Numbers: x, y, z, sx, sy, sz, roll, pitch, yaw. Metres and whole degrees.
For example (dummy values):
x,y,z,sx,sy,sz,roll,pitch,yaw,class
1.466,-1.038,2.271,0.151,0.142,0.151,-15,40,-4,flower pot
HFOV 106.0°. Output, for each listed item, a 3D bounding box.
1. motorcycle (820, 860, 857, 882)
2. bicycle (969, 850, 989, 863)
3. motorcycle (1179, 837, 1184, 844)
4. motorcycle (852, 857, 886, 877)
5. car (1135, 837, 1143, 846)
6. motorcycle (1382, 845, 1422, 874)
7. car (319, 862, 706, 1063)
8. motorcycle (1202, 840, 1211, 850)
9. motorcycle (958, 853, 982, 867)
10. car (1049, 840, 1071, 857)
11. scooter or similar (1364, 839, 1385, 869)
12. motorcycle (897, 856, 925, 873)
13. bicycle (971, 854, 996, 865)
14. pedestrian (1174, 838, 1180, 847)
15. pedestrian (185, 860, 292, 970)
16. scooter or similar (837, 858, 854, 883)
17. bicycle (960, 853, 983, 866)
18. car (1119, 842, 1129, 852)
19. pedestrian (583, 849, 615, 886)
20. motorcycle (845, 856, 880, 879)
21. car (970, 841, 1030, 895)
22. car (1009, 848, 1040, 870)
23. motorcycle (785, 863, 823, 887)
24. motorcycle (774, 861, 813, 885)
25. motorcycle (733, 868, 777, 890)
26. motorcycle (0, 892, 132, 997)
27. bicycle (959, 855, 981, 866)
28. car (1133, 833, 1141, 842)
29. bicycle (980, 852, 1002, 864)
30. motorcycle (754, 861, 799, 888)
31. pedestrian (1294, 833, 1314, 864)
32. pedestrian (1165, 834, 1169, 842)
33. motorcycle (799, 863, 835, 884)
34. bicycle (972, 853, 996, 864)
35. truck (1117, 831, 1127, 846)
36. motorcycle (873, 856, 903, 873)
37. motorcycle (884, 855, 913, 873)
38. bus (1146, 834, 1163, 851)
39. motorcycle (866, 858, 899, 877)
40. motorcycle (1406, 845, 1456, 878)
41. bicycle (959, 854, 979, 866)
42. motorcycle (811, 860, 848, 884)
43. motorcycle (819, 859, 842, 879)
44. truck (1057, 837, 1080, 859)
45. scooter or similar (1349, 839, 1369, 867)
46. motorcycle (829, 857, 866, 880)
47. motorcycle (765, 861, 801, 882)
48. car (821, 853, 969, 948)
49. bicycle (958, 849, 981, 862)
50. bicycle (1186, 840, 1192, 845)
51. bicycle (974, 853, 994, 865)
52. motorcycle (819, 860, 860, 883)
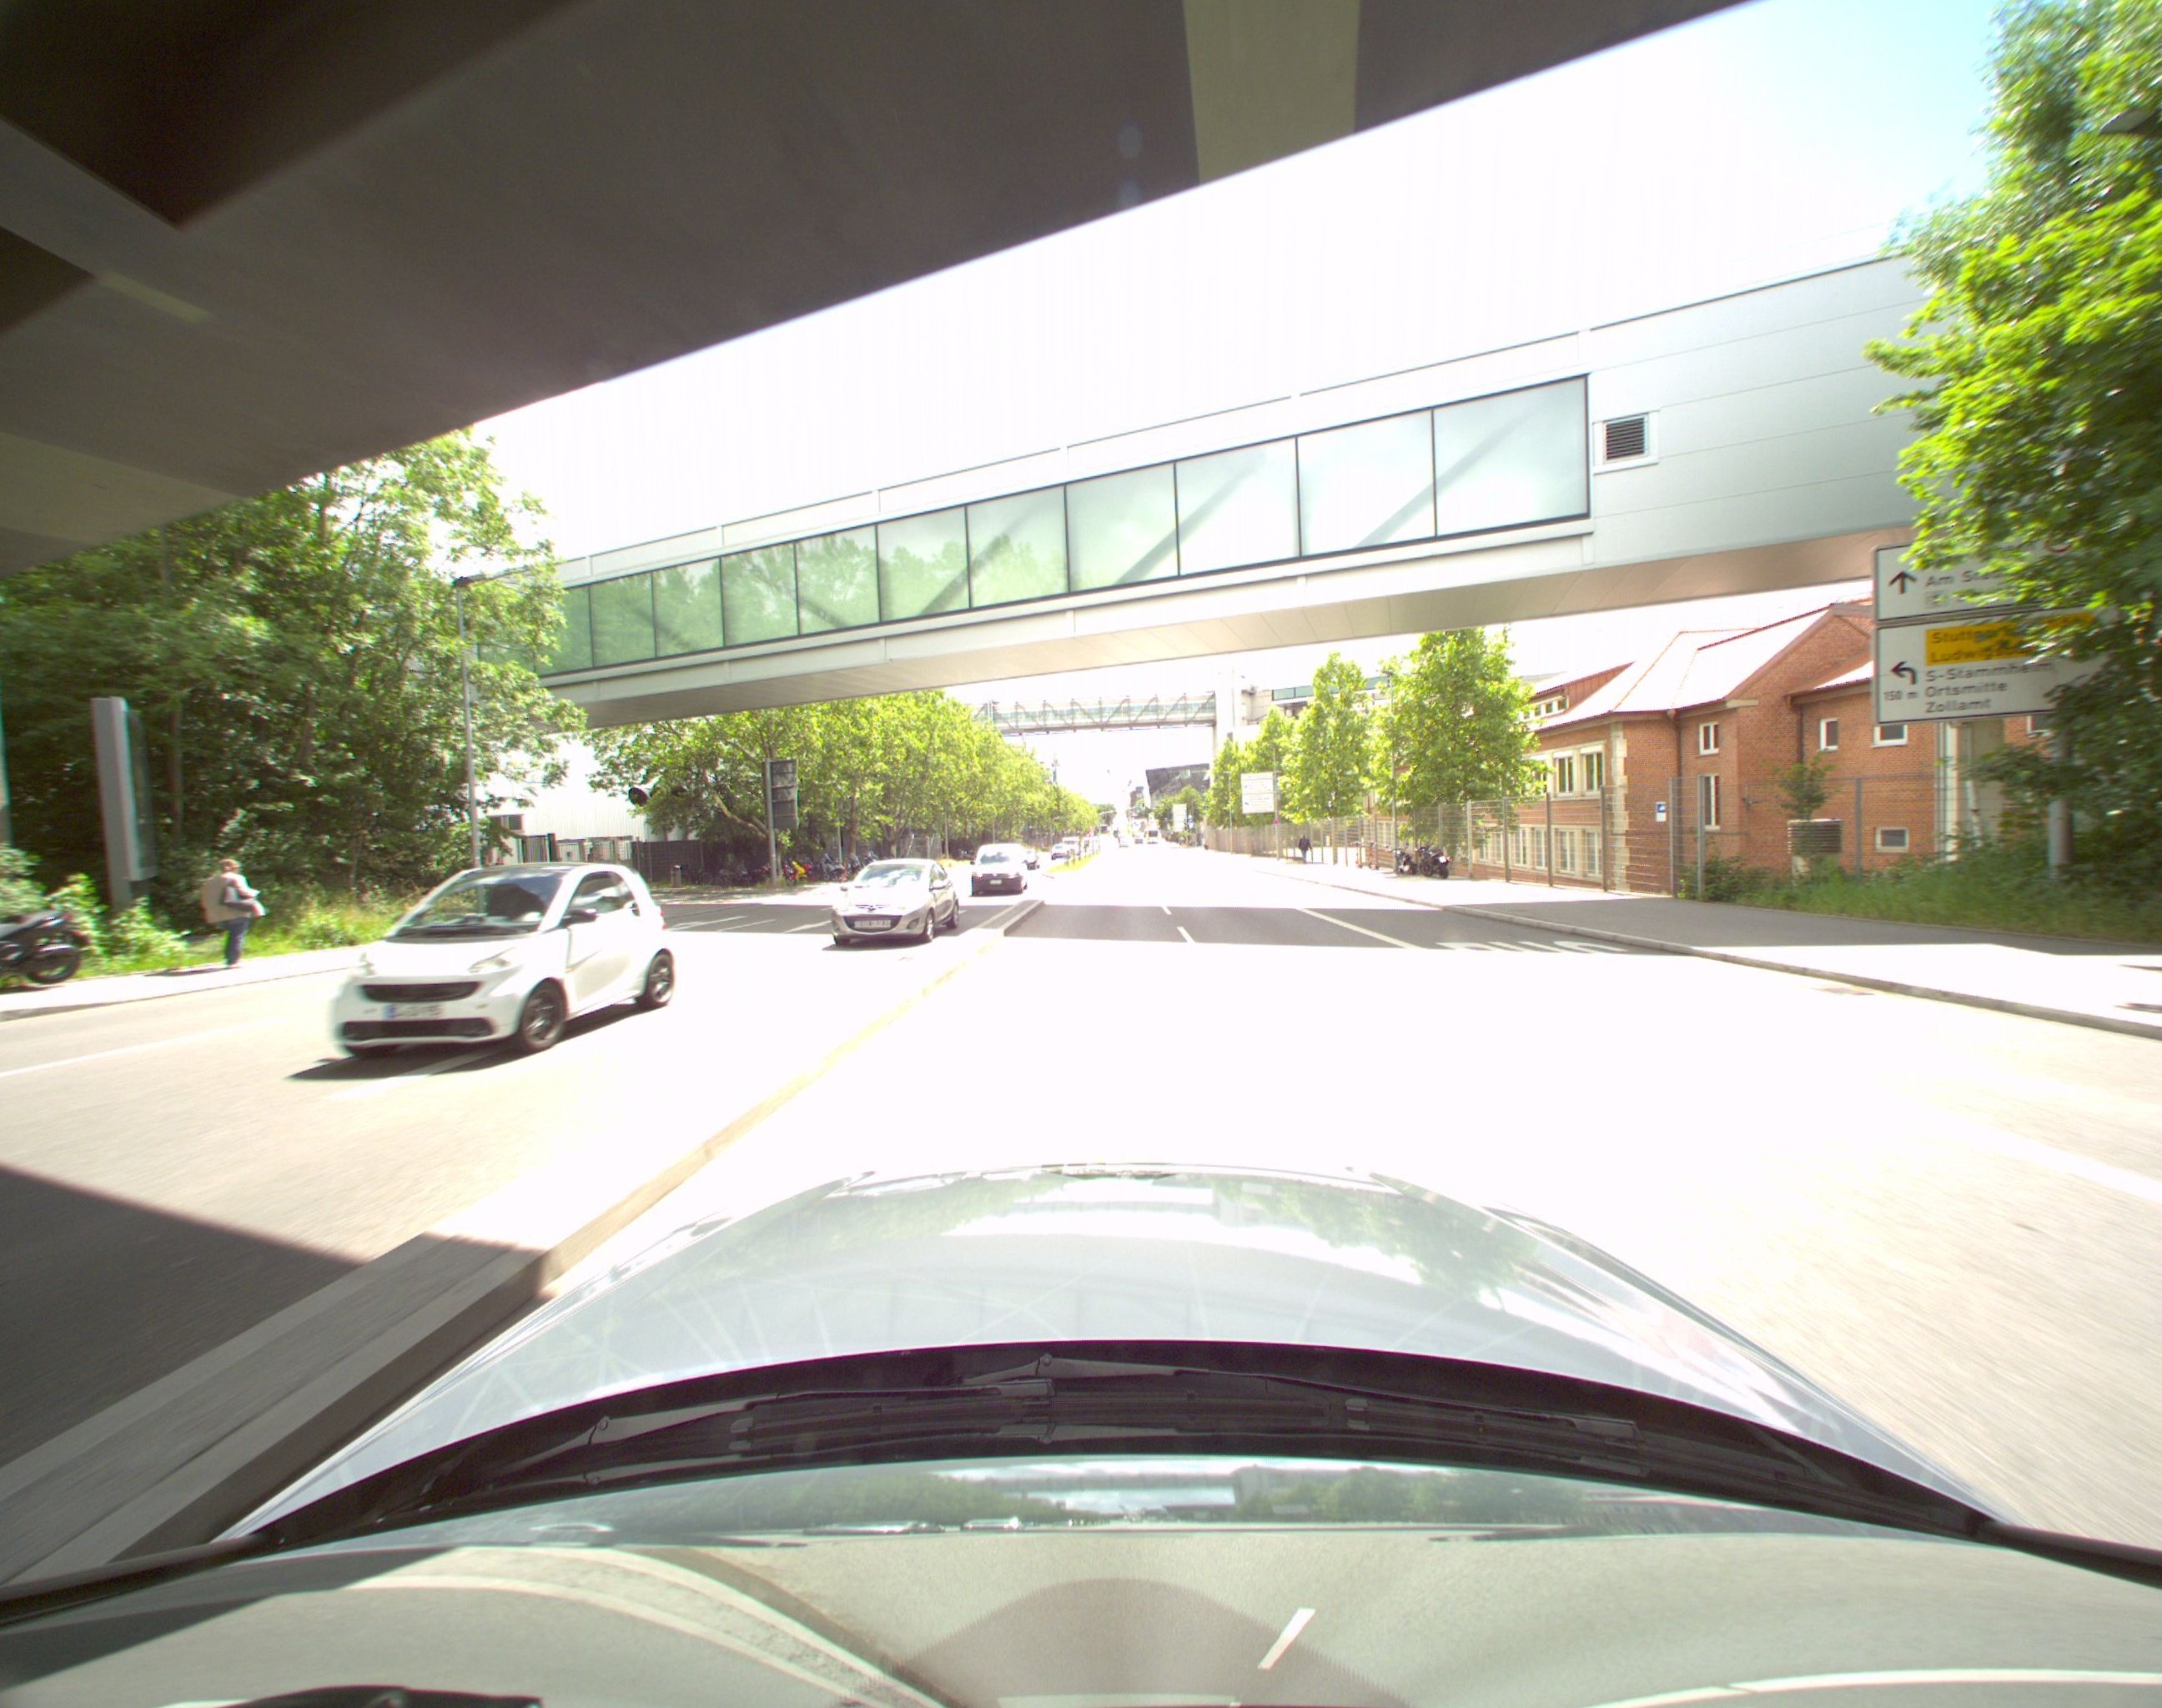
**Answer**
x,y,z,sx,sy,sz,roll,pitch,yaw,class
-13.728,0.963,46.022,1.913,1.115,0.927,1,2,30,motorcycle
-10.504,0.264,83.706,1.911,1.282,0.807,-1,0,1,bicycle
18.102,-2.513,147.058,0.703,1.203,2.026,-3,1,4,motorcycle
-13.299,0.835,51.085,1.863,1.179,0.819,1,2,17,motorcycle
12.436,-2.680,173.801,1.730,1.741,3.696,-1,1,4,car
12.505,0.200,31.797,0.665,1.064,2.248,-5,0,2,motorcycle
-5.132,0.858,7.881,1.500,1.488,3.116,-1,0,0,car
15.831,-1.105,102.956,0.690,1.158,2.147,-3,1,-1,motorcycle
-10.705,0.541,78.589,2.126,1.309,0.807,-1,0,1,motorcycle
-2.202,-0.596,85.705,1.897,1.631,4.296,-1,0,3,car
13.166,-0.009,36.556,0.489,1.294,1.337,-3,0,3,scooter or similar
-12.290,0.783,58.941,1.865,1.173,0.748,1,2,12,motorcycle
-10.627,0.570,88.655,2.547,1.096,0.698,-3,0,12,bicycle
18.637,-2.193,158.274,0.839,1.624,0.962,-1,1,45,pedestrian
-12.905,0.912,12.493,0.765,1.612,0.814,1,0,2,pedestrian
-11.812,0.824,40.901,0.353,1.236,1.481,0,-1,3,scooter or similar
-11.116,0.567,82.808,2.126,1.282,0.807,-1,0,1,bicycle
7.683,-1.184,146.359,1.730,1.741,3.696,-1,1,4,car
-22.691,0.644,38.357,0.982,1.701,0.882,-2,0,-12,pedestrian
-13.301,0.810,49.642,1.915,1.343,0.869,1,2,23,motorcycle
-2.920,0.468,30.282,1.803,1.780,4.975,-2,0,-2,car
-3.991,0.326,57.969,1.703,1.453,4.481,-2,0,1,car
-13.800,1.026,40.551,1.584,1.123,0.777,0,2,4,motorcycle
-13.914,0.903,39.449,1.589,1.123,0.774,0,2,-7,motorcycle
-14.533,1.113,36.311,1.727,0.868,0.780,1,2,23,motorcycle
-13.263,1.109,9.938,0.637,1.198,2.259,0,0,2,motorcycle
-11.009,0.636,80.925,2.073,1.062,0.497,-1,0,1,bicycle
13.908,-4.044,201.402,1.984,2.014,4.005,0,-1,4,car
-10.073,0.406,91.496,2.393,1.258,0.556,-1,0,4,bicycle
-13.916,0.924,37.243,1.731,1.171,0.778,0,2,11,motorcycle
13.094,-0.339,47.812,0.874,1.743,0.941,-4,0,2,pedestrian
18.378,-3.430,174.886,0.816,1.707,0.882,-1,0,4,pedestrian
-13.573,1.001,41.871,1.584,1.033,0.777,0,2,4,motorcycle
-10.789,0.524,90.459,2.547,1.157,0.728,-1,0,12,bicycle
11.363,-4.251,224.792,2.381,3.897,6.184,-1,1,4,truck
-13.237,0.691,55.904,1.863,1.084,0.798,1,2,18,motorcycle
-12.833,0.702,57.286,1.866,1.186,0.732,0,1,11,motorcycle
16.644,-2.638,185.355,3.438,3.543,10.616,-1,1,3,bus
-12.819,0.841,52.662,1.865,1.179,0.818,0,2,11,motorcycle
12.267,0.234,28.672,0.704,1.064,2.512,-5,0,2,motorcycle
-11.090,0.603,80.458,1.917,1.074,0.422,-1,0,1,bicycle
-13.262,0.940,42.932,1.745,1.178,0.850,0,2,-9,motorcycle
-16.469,0.957,53.622,0.649,1.209,1.987,0,2,7,motorcycle
-1.538,-0.778,104.040,2.469,2.750,6.463,-2,0,3,truck
13.278,-0.045,38.943,0.489,1.294,1.337,-3,0,3,scooter or similar
-13.593,0.837,47.322,1.915,1.290,0.898,1,2,23,motorcycle
-17.110,0.976,46.705,1.913,1.115,0.927,1,2,30,motorcycle
-3.349,0.771,15.434,1.702,1.488,3.986,-2,0,2,car
-10.906,0.123,79.698,2.126,1.180,0.807,-1,0,1,bicycle
19.002,-1.991,143.387,0.398,0.937,1.919,-1,1,-15,bicycle
-10.246,0.527,85.875,1.911,1.122,0.807,-1,0,1,bicycle
-13.069,0.956,44.162,1.931,1.116,0.918,-4,-1,-9,motorcycle
